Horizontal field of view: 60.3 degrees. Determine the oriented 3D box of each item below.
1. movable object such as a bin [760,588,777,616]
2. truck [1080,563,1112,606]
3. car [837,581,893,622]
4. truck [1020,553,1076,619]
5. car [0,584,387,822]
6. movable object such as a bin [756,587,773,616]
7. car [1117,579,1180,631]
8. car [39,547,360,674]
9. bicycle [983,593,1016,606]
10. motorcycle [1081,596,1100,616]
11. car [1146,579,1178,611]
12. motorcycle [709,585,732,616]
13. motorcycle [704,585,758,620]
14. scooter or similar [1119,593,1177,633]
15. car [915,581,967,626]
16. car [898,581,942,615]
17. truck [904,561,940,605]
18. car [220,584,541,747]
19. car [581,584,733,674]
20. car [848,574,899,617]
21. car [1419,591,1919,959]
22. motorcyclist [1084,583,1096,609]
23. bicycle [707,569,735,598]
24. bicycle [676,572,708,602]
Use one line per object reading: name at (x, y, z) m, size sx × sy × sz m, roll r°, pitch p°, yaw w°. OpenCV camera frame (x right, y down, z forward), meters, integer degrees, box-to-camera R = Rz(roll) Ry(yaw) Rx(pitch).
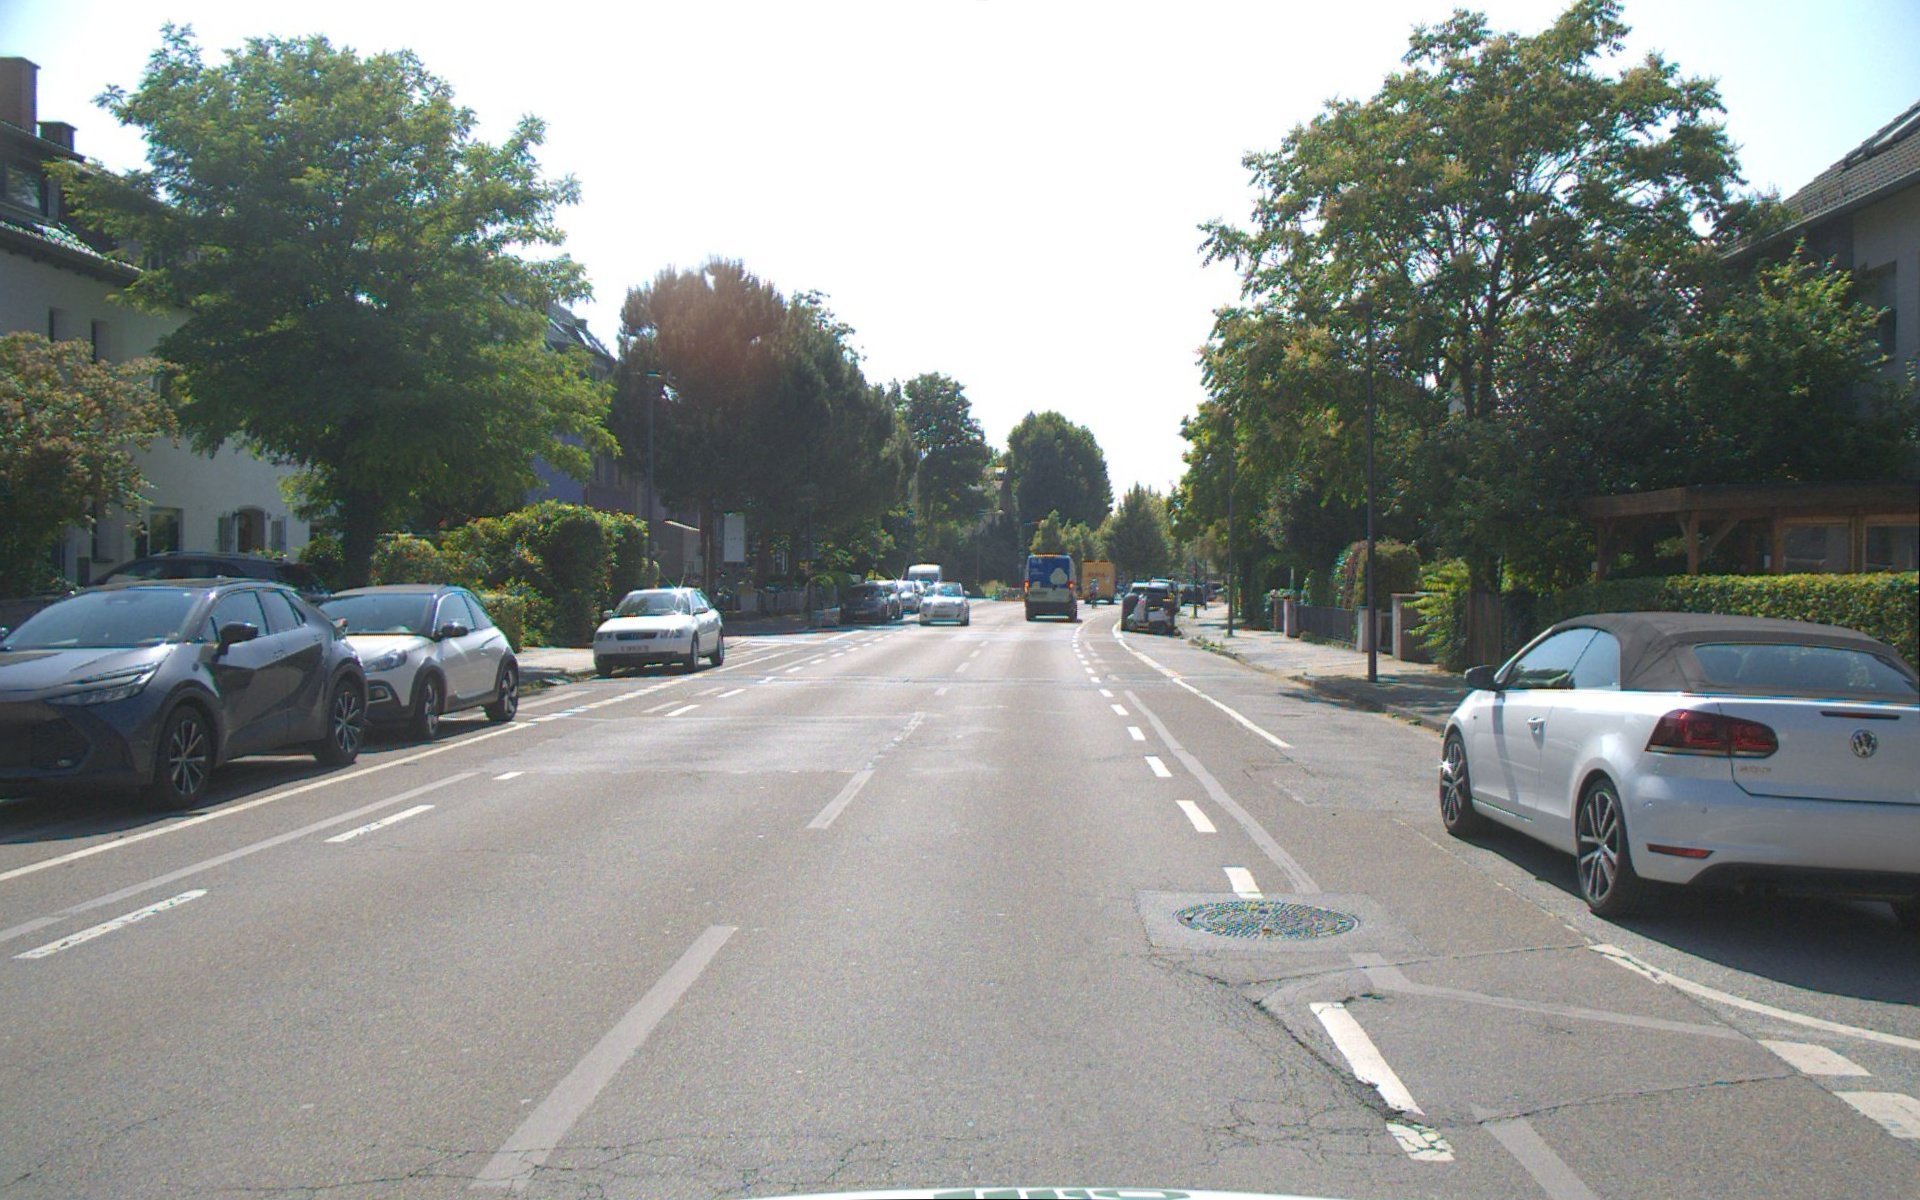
movable object such as a bin at (-7.653, 0.084, 66.107) m, size 0.532 × 1.131 × 0.585 m, roll 0°, pitch 0°, yaw 8°
truck at (9.684, -1.065, 118.341) m, size 2.168 × 2.998 × 5.689 m, roll 0°, pitch 0°, yaw 4°
car at (-3.615, 0.041, 63.531) m, size 1.744 × 1.485 × 4.087 m, roll -1°, pitch 1°, yaw 2°
truck at (3.643, -0.577, 68.722) m, size 2.225 × 2.616 × 4.394 m, roll 0°, pitch 0°, yaw 3°
car at (-5.990, 0.627, 12.354) m, size 1.748 × 1.465 × 4.113 m, roll -1°, pitch 1°, yaw 4°
movable object such as a bin at (-7.737, 0.052, 65.501) m, size 0.532 × 1.131 × 0.519 m, roll 0°, pitch 0°, yaw 8°
car at (6.524, 0.151, 56.875) m, size 1.747 × 1.666 × 4.474 m, roll 2°, pitch 1°, yaw 11°
car at (-11.372, 0.133, 24.925) m, size 3.903 × 1.790 × 2.001 m, roll 1°, pitch 1°, yaw 3°
bicycle at (3.239, -0.022, 135.241) m, size 2.636 × 1.066 × 1.025 m, roll 0°, pitch 0°, yaw -6°
motorcycle at (7.765, 0.348, 98.417) m, size 1.034 × 1.142 × 2.993 m, roll 0°, pitch 0°, yaw 3°
car at (11.059, -0.267, 90.798) m, size 1.664 × 1.706 × 3.777 m, roll 0°, pitch 1°, yaw 6°
motorcycle at (-9.344, 0.002, 64.556) m, size 0.525 × 1.202 × 1.447 m, roll 0°, pitch 0°, yaw 8°
motorcycle at (-8.163, 0.085, 59.082) m, size 1.800 × 1.202 × 0.643 m, roll 0°, pitch 0°, yaw 8°
scooter or similar at (6.129, 0.415, 54.004) m, size 0.714 × 1.174 × 1.770 m, roll 4°, pitch 1°, yaw -42°
car at (-0.662, 0.106, 59.998) m, size 1.696 × 1.568 × 4.001 m, roll -1°, pitch 0°, yaw 1°
car at (-1.926, -0.103, 80.304) m, size 1.796 × 1.623 × 3.777 m, roll 0°, pitch 0°, yaw 4°
truck at (-2.228, -1.015, 98.505) m, size 2.038 × 2.581 × 5.467 m, roll 0°, pitch 1°, yaw 0°
car at (-5.841, 0.581, 17.216) m, size 1.748 × 1.465 × 4.002 m, roll 0°, pitch 1°, yaw 3°
car at (-5.270, 0.457, 29.232) m, size 1.748 × 1.465 × 4.002 m, roll 0°, pitch 1°, yaw 3°
car at (-3.603, -0.221, 69.487) m, size 1.869 × 1.706 × 4.259 m, roll -1°, pitch 1°, yaw 1°
car at (3.868, 0.731, 8.897) m, size 1.704 × 1.426 × 4.075 m, roll 3°, pitch 1°, yaw 2°
motorcyclist at (7.736, -0.222, 98.445) m, size 0.658 × 1.545 × 0.653 m, roll 0°, pitch 0°, yaw 5°
bicycle at (-10.150, -0.693, 70.304) m, size 0.525 × 1.202 × 1.447 m, roll 0°, pitch 0°, yaw 20°
bicycle at (-11.231, -0.557, 69.429) m, size 0.527 × 1.202 × 1.443 m, roll 1°, pitch 3°, yaw 30°
